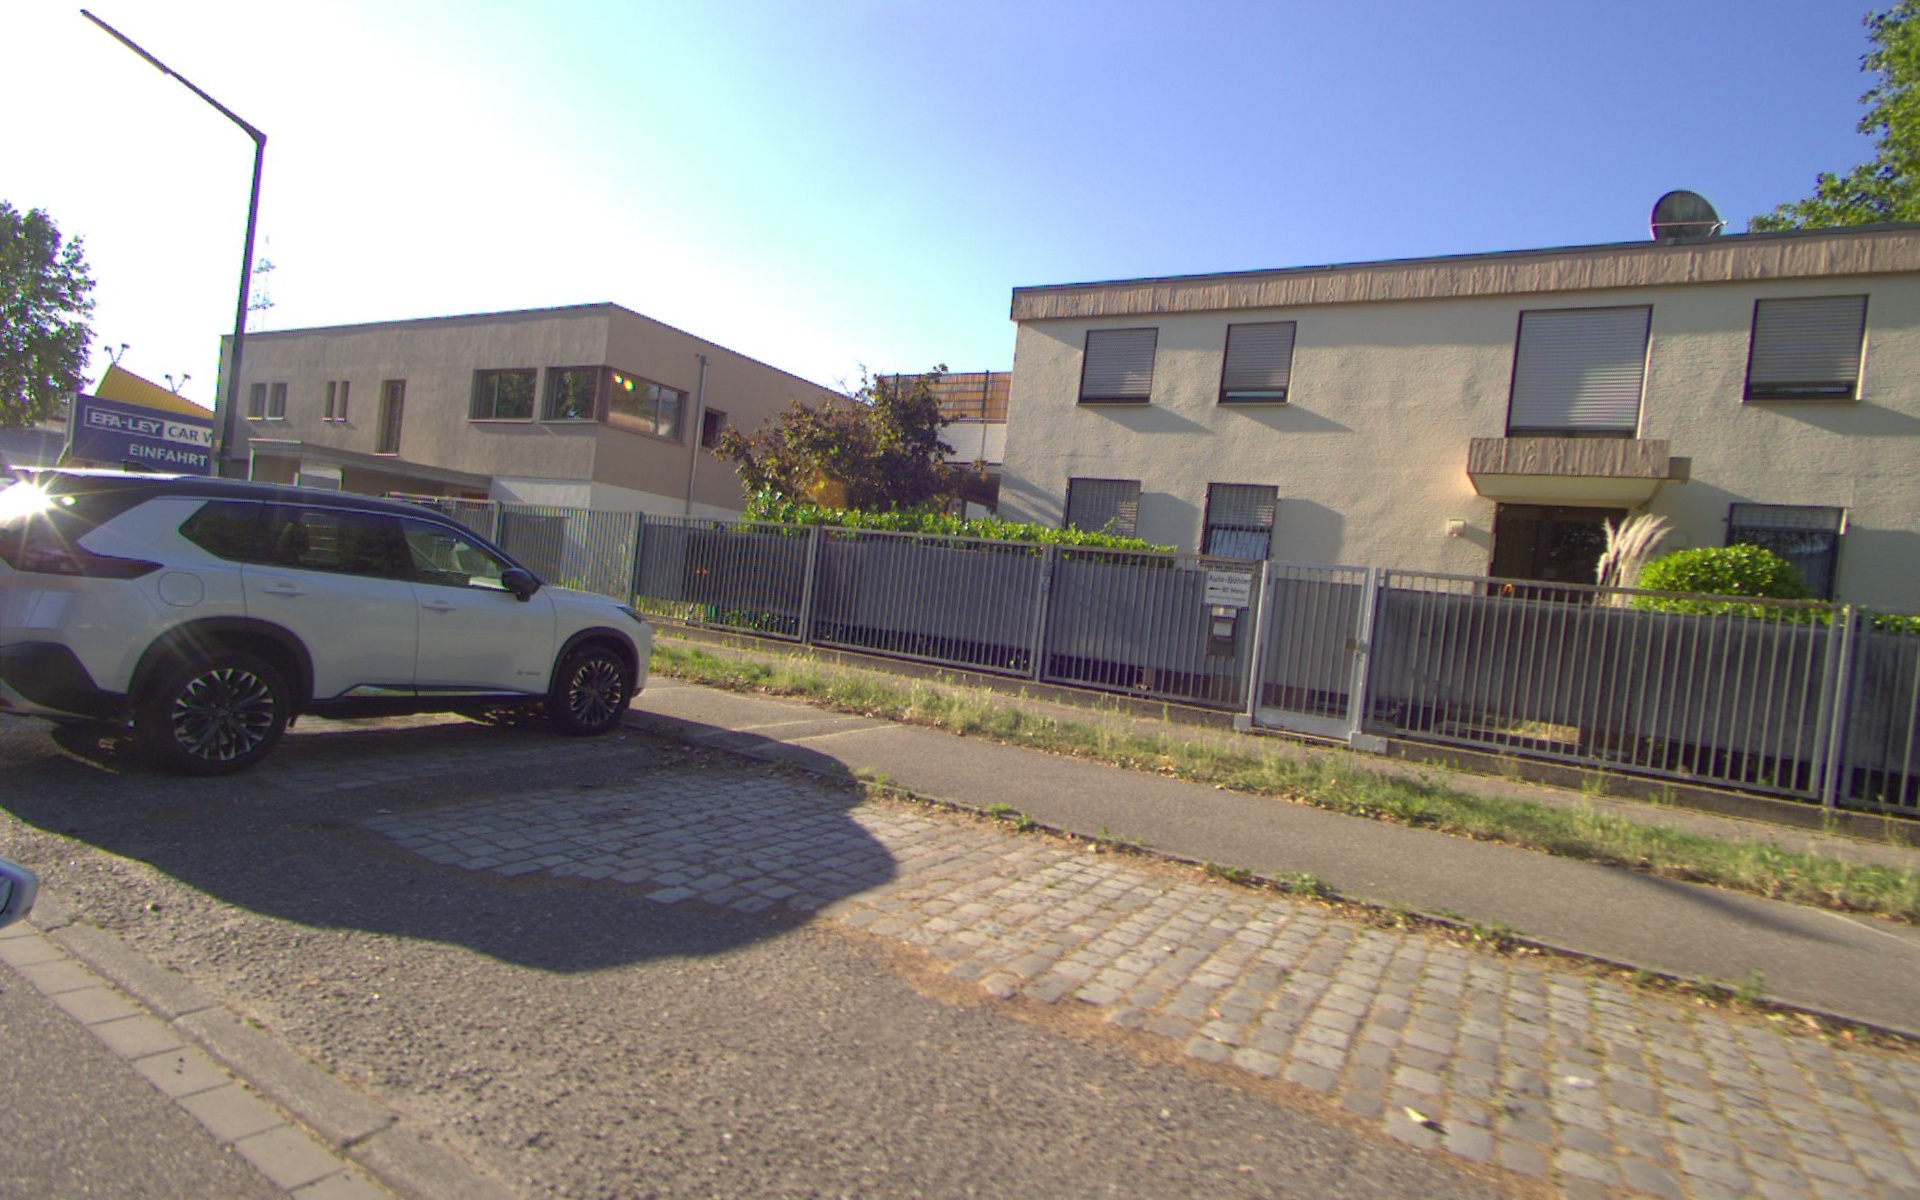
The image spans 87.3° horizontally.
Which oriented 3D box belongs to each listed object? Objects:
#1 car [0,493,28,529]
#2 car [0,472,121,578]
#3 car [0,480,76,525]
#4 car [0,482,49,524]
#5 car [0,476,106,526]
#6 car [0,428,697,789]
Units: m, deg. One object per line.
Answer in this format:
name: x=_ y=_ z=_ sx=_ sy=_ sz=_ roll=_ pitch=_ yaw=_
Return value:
car: x=-45.668 y=-4.334 z=45.973 sx=1.965 sy=1.537 sz=3.997 roll=7 pitch=-1 yaw=27
car: x=-15.595 y=-1.220 z=14.788 sx=1.966 sy=1.548 sz=4.624 roll=7 pitch=3 yaw=29
car: x=-41.049 y=-4.351 z=43.299 sx=1.919 sy=1.537 sz=3.997 roll=7 pitch=-1 yaw=27
car: x=-43.292 y=-4.512 z=44.451 sx=1.965 sy=1.614 sz=3.997 roll=7 pitch=-1 yaw=27
car: x=-38.239 y=-4.133 z=41.543 sx=1.965 sy=1.515 sz=3.997 roll=7 pitch=-1 yaw=27
car: x=-4.327 y=-0.041 z=7.257 sx=1.966 sy=1.736 sz=4.624 roll=7 pitch=3 yaw=29
